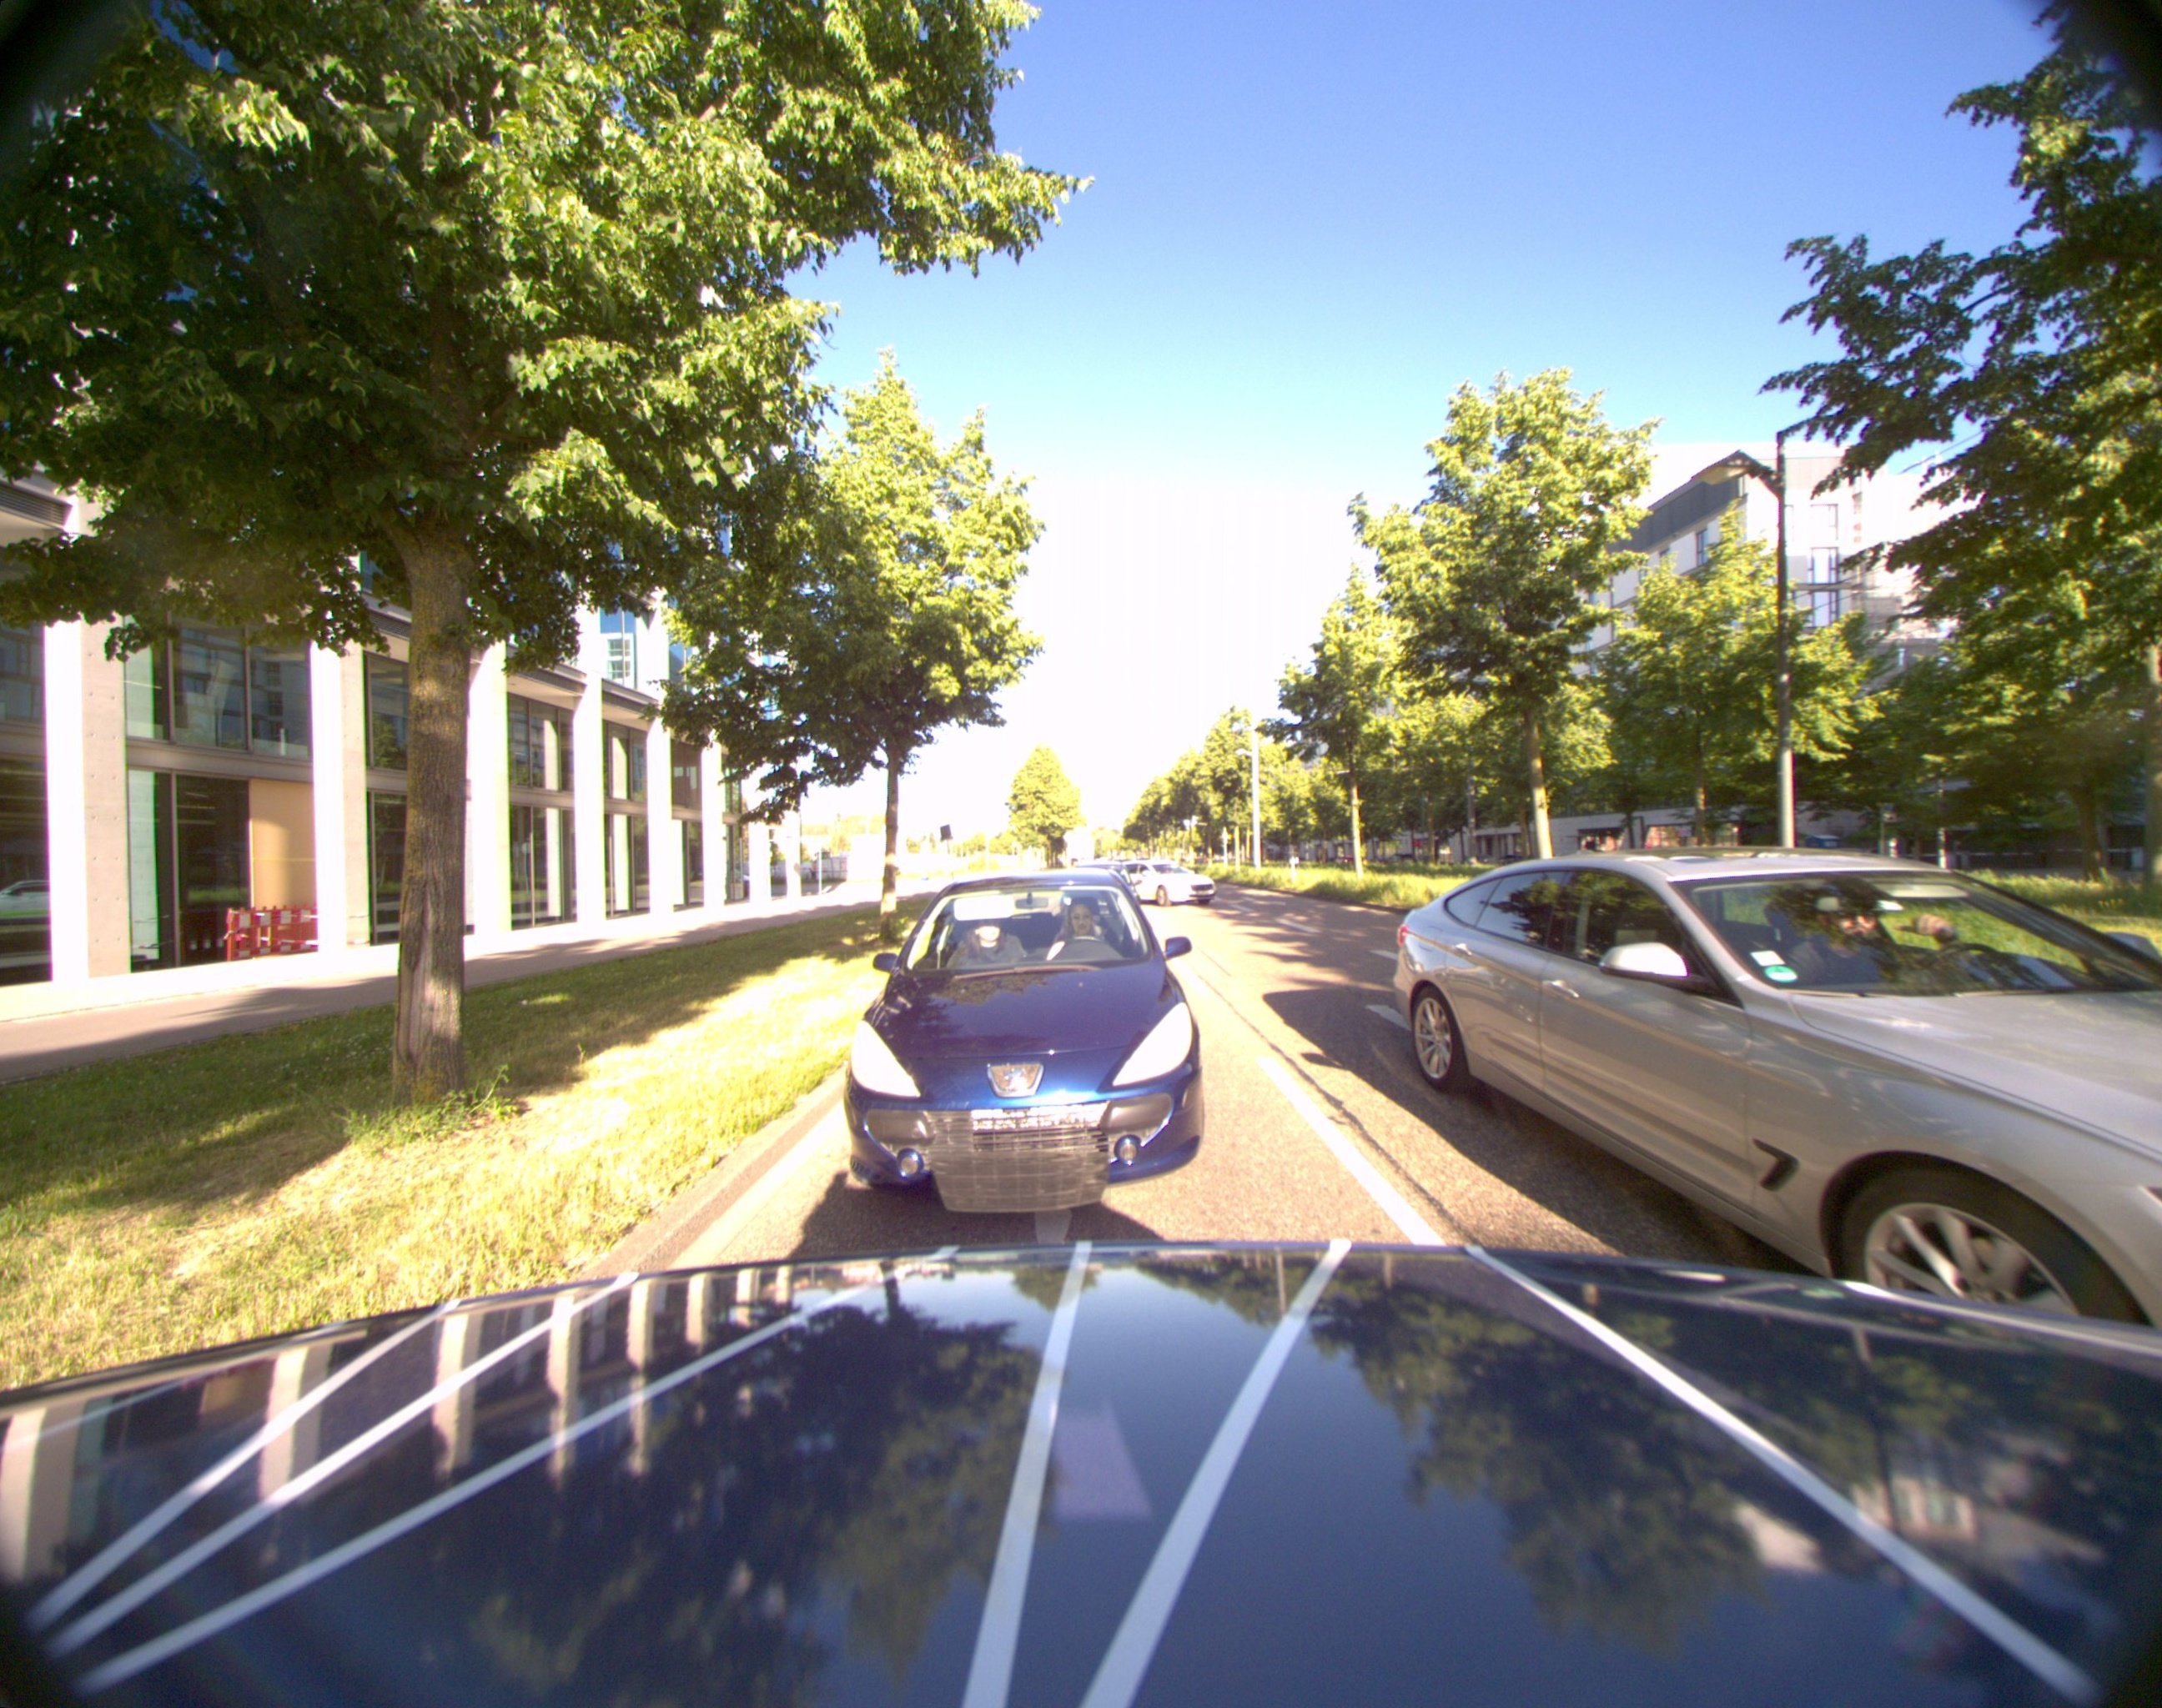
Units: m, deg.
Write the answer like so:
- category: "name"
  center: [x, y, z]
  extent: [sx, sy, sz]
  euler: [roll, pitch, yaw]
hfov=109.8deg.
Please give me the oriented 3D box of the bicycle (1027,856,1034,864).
- category: "bicycle"
  center: [-9.637, 1.167, 145.877]
  extent: [0.931, 1.355, 4.000]
  euler: [-1, 0, 1]

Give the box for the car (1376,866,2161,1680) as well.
- category: "car"
  center: [2.996, 0.847, 3.054]
  extent: [1.824, 1.476, 4.561]
  euler: [-1, 0, 0]

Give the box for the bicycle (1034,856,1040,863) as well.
- category: "bicycle"
  center: [-8.458, 1.091, 146.185]
  extent: [0.931, 1.355, 4.000]
  euler: [-1, 0, 1]

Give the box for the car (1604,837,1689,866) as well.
- category: "car"
  center: [33.436, -0.142, 45.084]
  extent: [1.951, 1.588, 4.184]
  euler: [-1, 0, 1]

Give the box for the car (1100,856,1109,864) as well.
- category: "car"
  center: [4.682, 1.151, 150.251]
  extent: [1.724, 1.516, 4.000]
  euler: [-1, 0, 1]

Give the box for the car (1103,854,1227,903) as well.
- category: "car"
  center: [2.630, 0.748, 24.963]
  extent: [1.807, 1.439, 4.558]
  euler: [-1, 0, -28]

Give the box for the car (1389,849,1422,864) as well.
- category: "car"
  center: [35.455, 0.291, 83.107]
  extent: [1.884, 1.588, 4.184]
  euler: [-1, 0, 1]

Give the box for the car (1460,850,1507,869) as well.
- category: "car"
  center: [35.165, 0.443, 66.517]
  extent: [1.884, 1.588, 4.184]
  euler: [-1, 0, 1]

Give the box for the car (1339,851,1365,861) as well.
- category: "car"
  center: [36.179, 0.256, 101.627]
  extent: [1.998, 1.387, 4.000]
  euler: [-1, 0, 0]

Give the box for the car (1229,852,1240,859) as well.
- category: "car"
  center: [36.135, 0.349, 179.236]
  extent: [1.998, 1.387, 4.001]
  euler: [-1, 0, 4]

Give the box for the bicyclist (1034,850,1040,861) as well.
- category: "bicyclist"
  center: [-8.479, 0.298, 146.089]
  extent: [0.931, 2.045, 1.121]
  euler: [-1, 1, 1]

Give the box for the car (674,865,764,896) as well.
- category: "car"
  center: [-20.034, 1.463, 42.157]
  extent: [3.996, 1.569, 2.000]
  euler: [-1, 0, 3]

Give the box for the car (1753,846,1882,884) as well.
- category: "car"
  center: [34.091, 0.490, 35.354]
  extent: [1.951, 1.588, 4.184]
  euler: [-1, 0, 1]

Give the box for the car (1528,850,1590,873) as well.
- category: "car"
  center: [34.911, 0.546, 55.604]
  extent: [1.884, 1.588, 4.184]
  euler: [-1, 0, 1]

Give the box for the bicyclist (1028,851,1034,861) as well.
- category: "bicyclist"
  center: [-9.647, 0.373, 145.888]
  extent: [0.931, 2.045, 1.121]
  euler: [-1, 1, 1]

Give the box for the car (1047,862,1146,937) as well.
- category: "car"
  center: [0.352, 0.967, 17.877]
  extent: [1.998, 1.437, 4.622]
  euler: [-1, 0, 1]

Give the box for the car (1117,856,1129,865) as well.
- category: "car"
  center: [6.875, 1.002, 125.921]
  extent: [1.878, 1.415, 4.344]
  euler: [-1, 0, 2]

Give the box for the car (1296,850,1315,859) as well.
- category: "car"
  center: [36.625, 0.141, 124.157]
  extent: [1.998, 1.387, 4.000]
  euler: [-1, 0, 1]

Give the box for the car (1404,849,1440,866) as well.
- category: "car"
  center: [35.042, 0.357, 78.199]
  extent: [1.884, 1.588, 4.184]
  euler: [-1, 0, 1]

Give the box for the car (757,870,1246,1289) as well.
- category: "car"
  center: [-0.278, 0.920, 5.169]
  extent: [1.846, 1.473, 4.482]
  euler: [-2, 0, 1]

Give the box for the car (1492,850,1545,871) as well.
- category: "car"
  center: [35.198, 0.484, 61.234]
  extent: [1.884, 1.588, 4.184]
  euler: [-1, 0, 1]

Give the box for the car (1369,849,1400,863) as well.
- category: "car"
  center: [35.513, 0.240, 89.028]
  extent: [1.884, 1.588, 4.184]
  euler: [-1, 0, 1]

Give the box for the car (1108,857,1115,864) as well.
- category: "car"
  center: [7.551, 1.674, 187.695]
  extent: [1.878, 1.577, 4.344]
  euler: [-1, 0, 2]
